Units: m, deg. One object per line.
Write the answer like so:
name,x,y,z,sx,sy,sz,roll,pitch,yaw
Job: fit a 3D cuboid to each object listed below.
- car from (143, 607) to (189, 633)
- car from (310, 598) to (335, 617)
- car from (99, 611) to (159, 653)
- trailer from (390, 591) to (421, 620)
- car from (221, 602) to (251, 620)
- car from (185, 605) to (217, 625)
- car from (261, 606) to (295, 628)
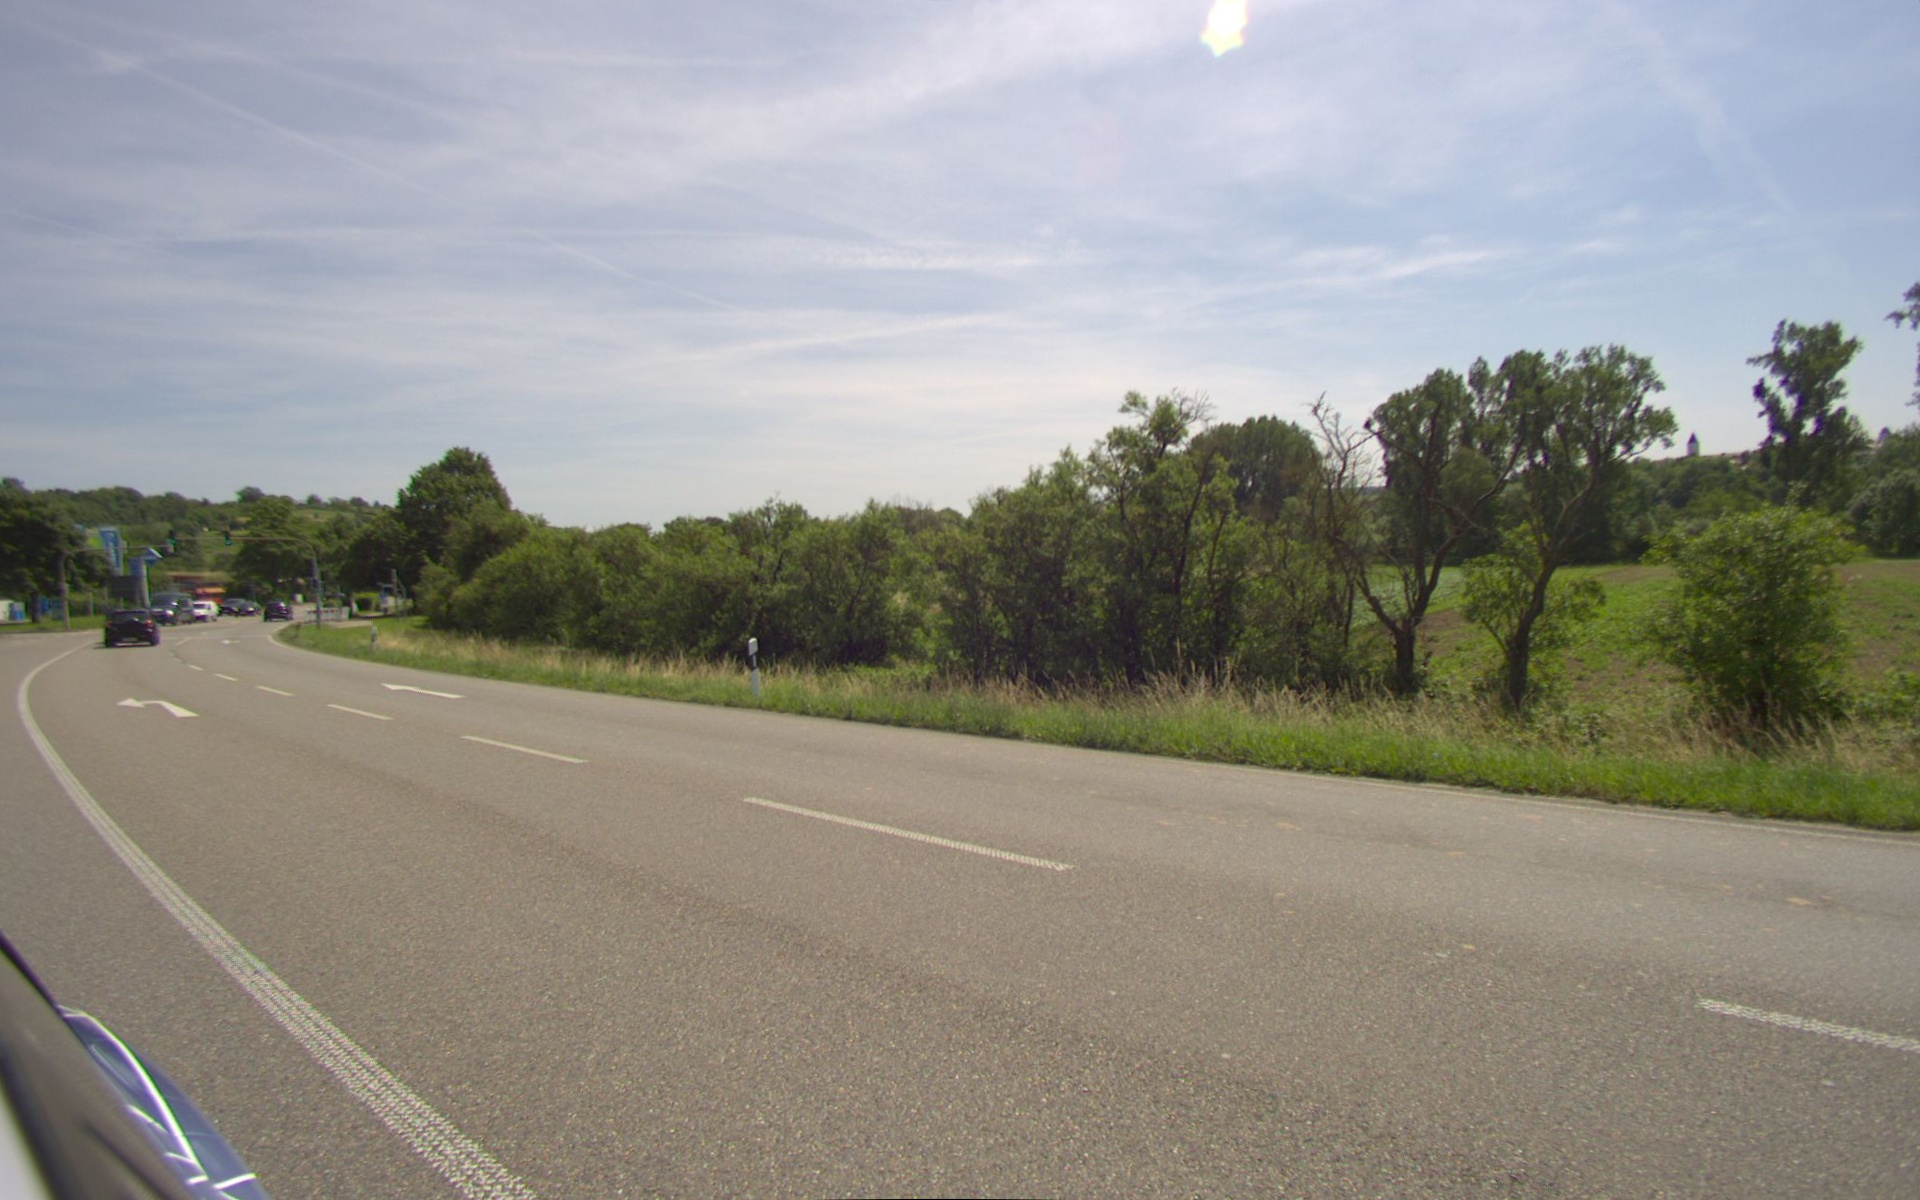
car,-62.148,1.557,79.245,1.779,1.745,4.014,-2,3,-23
car,-70.535,0.786,112.028,1.966,2.021,5.180,-2,1,-29
car,-36.990,1.365,45.117,1.747,1.671,4.010,-2,1,-35
trailer,-82.981,0.786,151.305,2.532,4.060,13.628,-1,0,-35
car,-74.185,1.089,103.782,1.779,1.745,4.013,-2,1,-26
car,-66.052,1.320,88.116,1.754,1.504,4.170,-2,3,-30
car,-58.580,1.422,86.951,1.965,1.708,4.013,-1,1,-28
